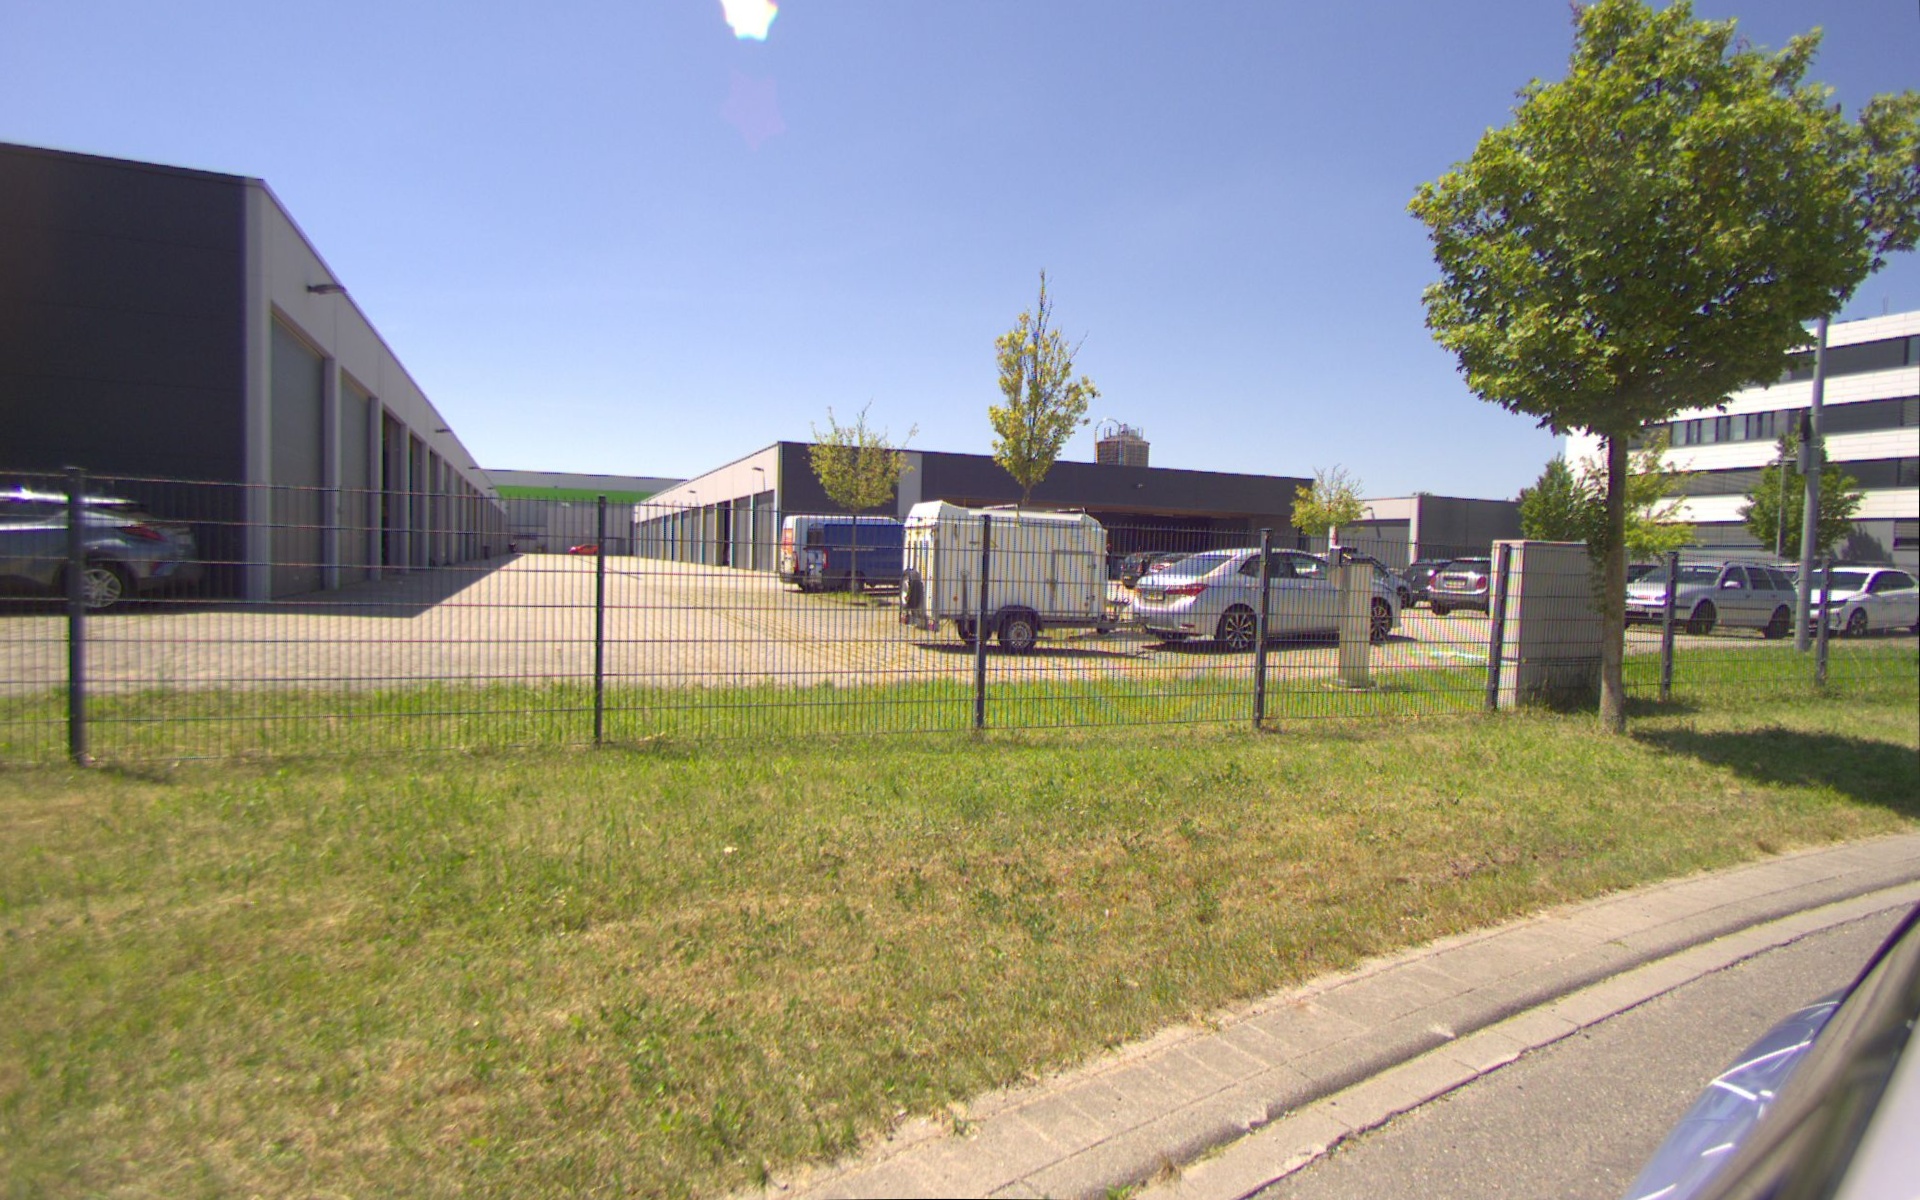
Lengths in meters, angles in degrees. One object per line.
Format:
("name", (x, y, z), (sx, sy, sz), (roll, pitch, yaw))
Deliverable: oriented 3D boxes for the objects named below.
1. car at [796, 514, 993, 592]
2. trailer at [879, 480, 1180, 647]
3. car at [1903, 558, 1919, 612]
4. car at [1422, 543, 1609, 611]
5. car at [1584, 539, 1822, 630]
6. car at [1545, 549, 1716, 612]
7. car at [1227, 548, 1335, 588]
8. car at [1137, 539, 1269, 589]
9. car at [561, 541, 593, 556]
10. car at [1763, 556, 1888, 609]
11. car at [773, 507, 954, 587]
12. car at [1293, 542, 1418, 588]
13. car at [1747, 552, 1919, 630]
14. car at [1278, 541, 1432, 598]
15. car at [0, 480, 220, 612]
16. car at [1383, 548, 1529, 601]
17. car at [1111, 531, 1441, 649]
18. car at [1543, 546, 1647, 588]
("car", (-2.013, -1.484, 31.471), (5.712, 2.251, 2.149), (-1, 4, -24))
("trailer", (0.934, -0.449, 14.063), (3.660, 2.024, 1.859), (2, 1, -22))
("car", (28.694, -0.338, 28.374), (3.842, 1.473, 1.836), (3, -1, -22))
("car", (13.310, -0.560, 24.284), (3.842, 1.517, 1.859), (0, 2, -21))
("car", (14.578, -0.276, 19.861), (4.200, 1.517, 1.859), (3, 1, -24))
("car", (17.603, -0.513, 26.573), (3.843, 1.517, 1.860), (1, 3, -23))
("car", (13.051, -1.310, 41.171), (3.842, 1.517, 1.859), (0, 2, -21))
("car", (8.634, -1.273, 36.021), (4.164, 1.651, 1.972), (0, 2, -21))
("car", (-49.592, -6.662, 131.125), (3.916, 1.794, 2.004), (0, 0, -20))
("car", (32.104, -0.617, 37.542), (3.842, 1.665, 1.836), (4, -1, -20))
("car", (-3.229, -1.802, 34.018), (5.562, 2.487, 2.201), (-3, 3, -24))
("car", (13.861, -1.247, 35.500), (3.843, 1.517, 1.859), (-2, 3, -21))
("car", (19.341, -0.252, 21.940), (3.843, 1.517, 1.859), (-2, 3, -21))
("car", (11.389, -0.870, 29.197), (3.842, 1.517, 1.859), (0, 2, -21))
("car", (-12.180, -0.693, 12.923), (4.086, 1.585, 1.784), (-1, 3, -24))
("car", (15.197, -0.778, 31.033), (3.842, 1.517, 1.859), (0, 2, -21))
("car", (4.898, -0.228, 15.652), (4.755, 1.517, 1.859), (-3, 3, -22))
("car", (27.669, -1.396, 44.122), (3.842, 1.557, 1.836), (3, -1, -20))
